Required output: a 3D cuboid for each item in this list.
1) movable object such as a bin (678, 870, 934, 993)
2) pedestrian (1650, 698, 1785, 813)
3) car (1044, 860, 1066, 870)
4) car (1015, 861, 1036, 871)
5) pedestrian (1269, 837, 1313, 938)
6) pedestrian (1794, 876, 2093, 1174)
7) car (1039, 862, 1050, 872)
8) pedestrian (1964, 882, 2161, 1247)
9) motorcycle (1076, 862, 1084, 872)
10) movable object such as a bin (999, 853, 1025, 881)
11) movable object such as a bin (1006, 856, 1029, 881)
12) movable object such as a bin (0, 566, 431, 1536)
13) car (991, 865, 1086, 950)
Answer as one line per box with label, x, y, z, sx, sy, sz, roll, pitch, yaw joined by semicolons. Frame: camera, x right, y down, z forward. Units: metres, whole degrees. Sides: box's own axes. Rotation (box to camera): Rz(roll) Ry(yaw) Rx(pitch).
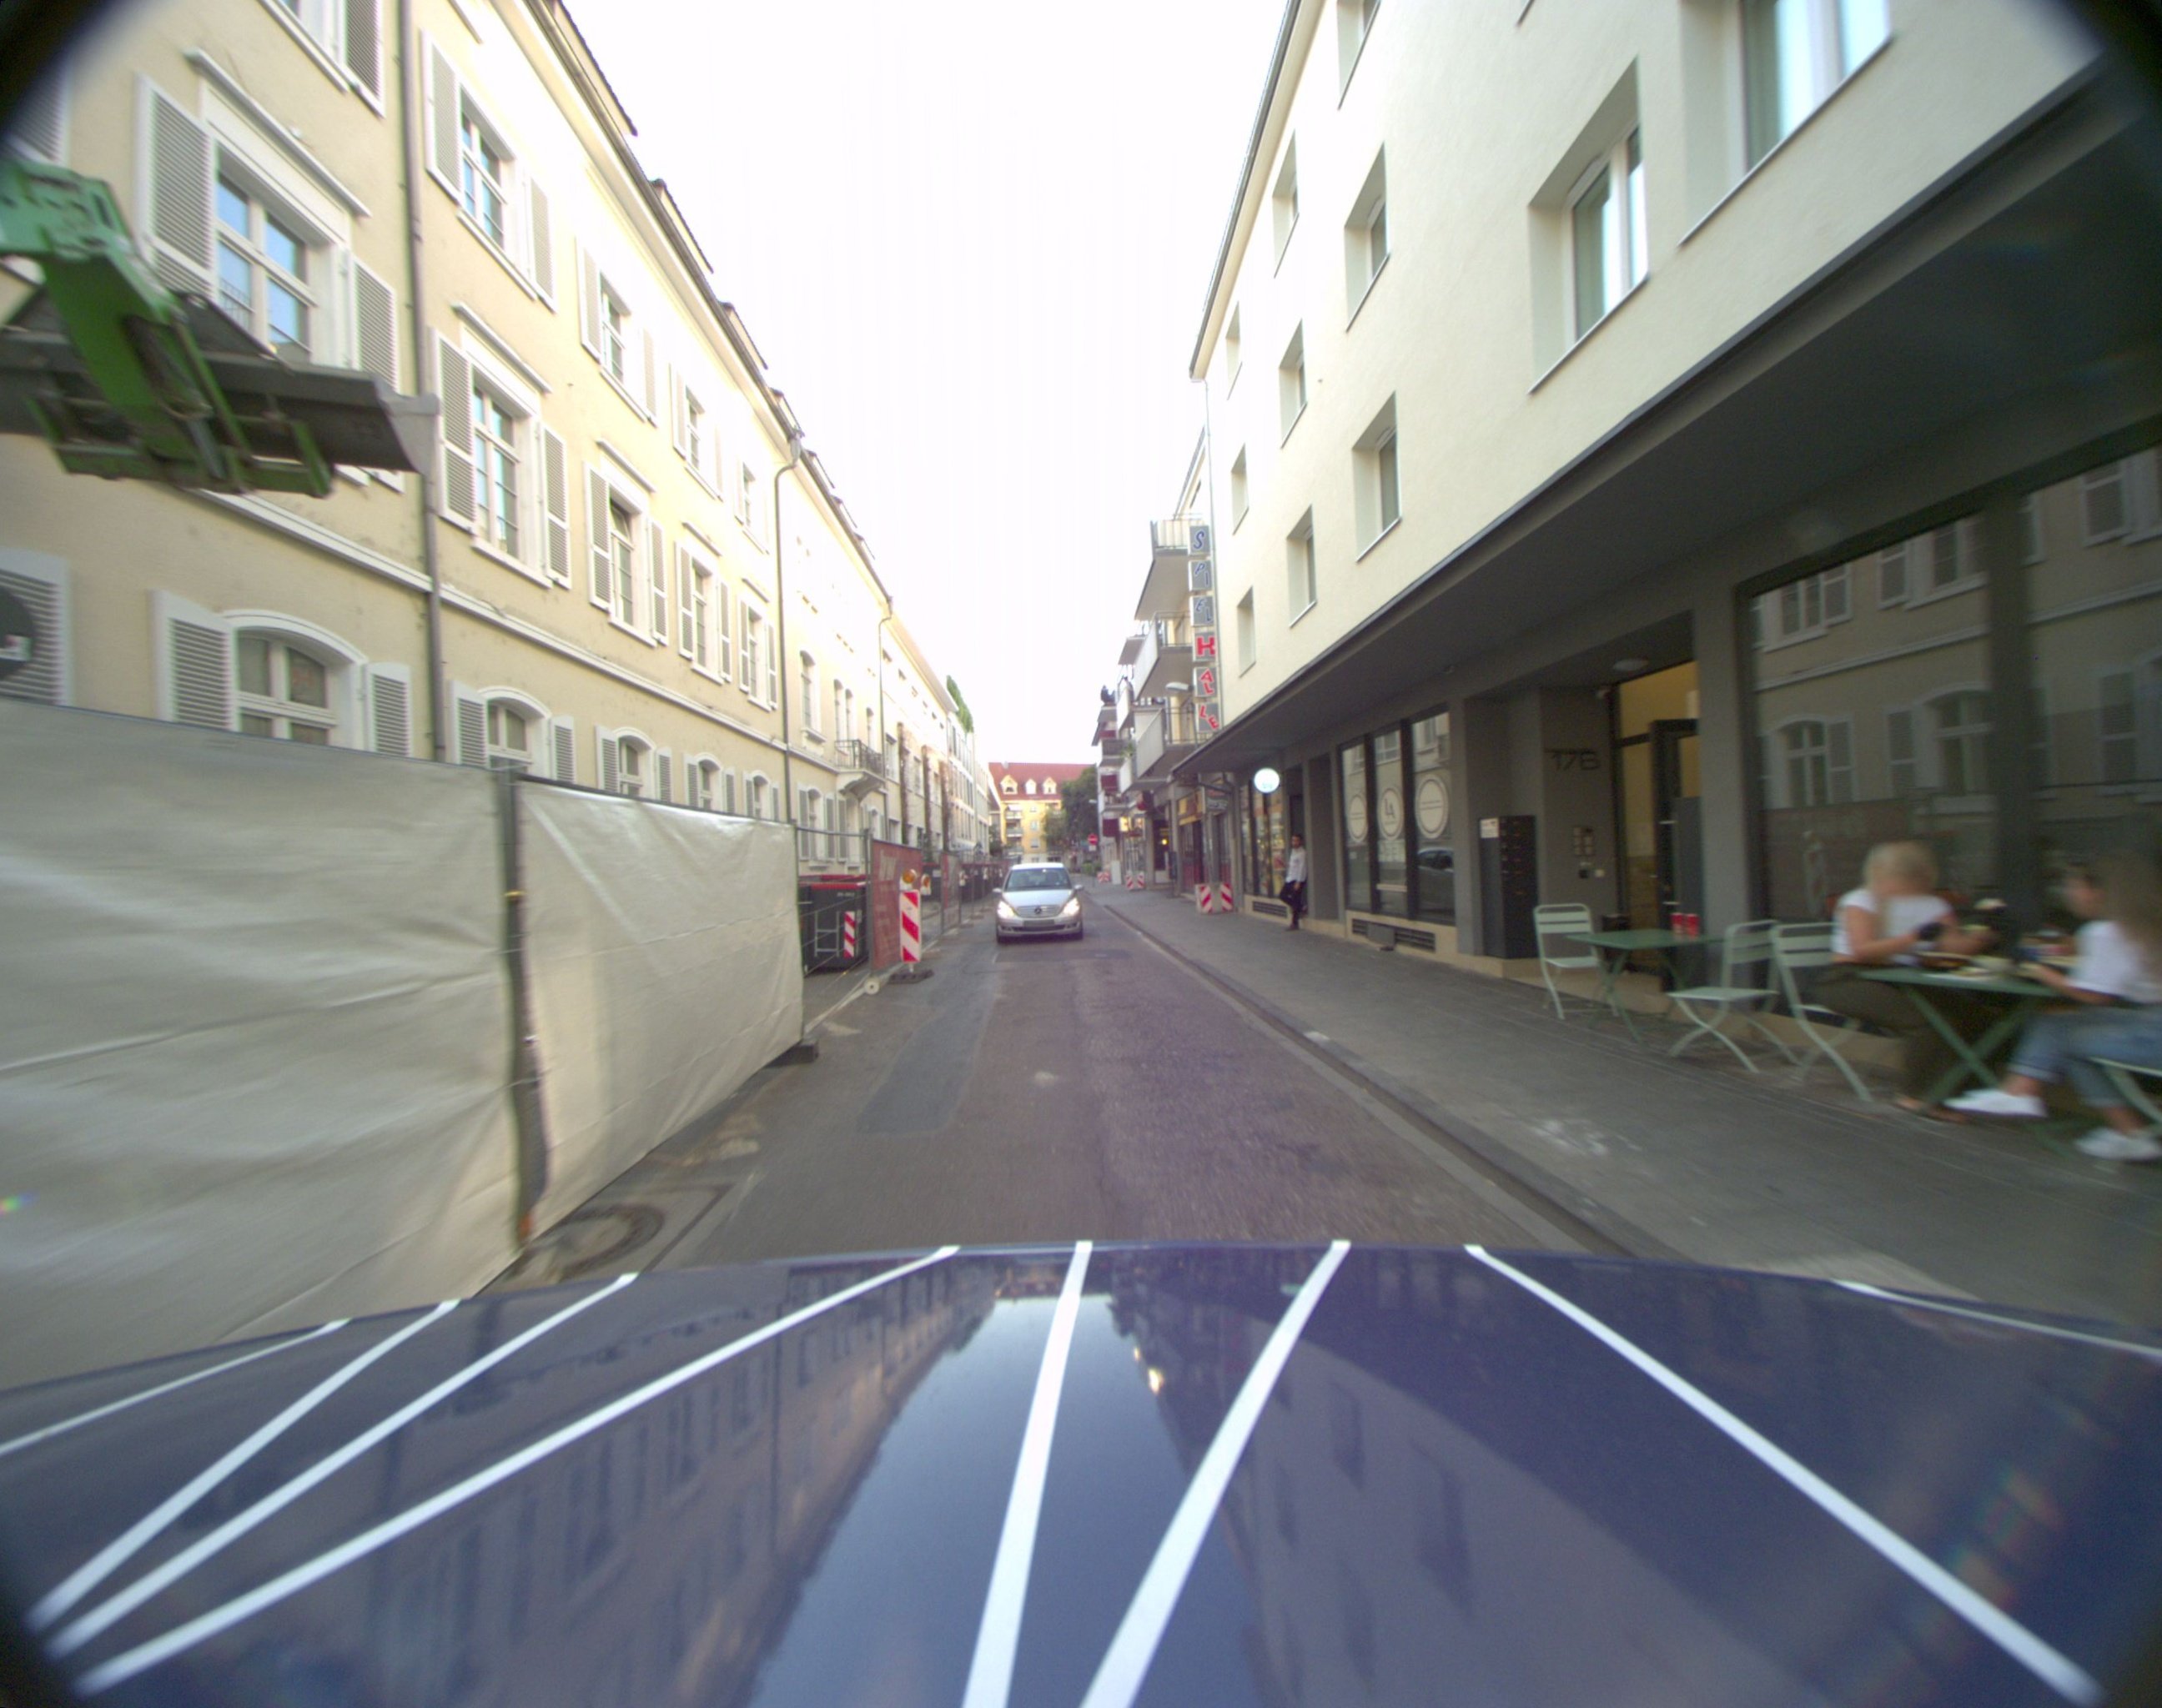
movable object such as a bin;-4.918;1.259;15.372;2.743;1.629;7.550;-3;0;-3
pedestrian;14.197;-2.068;17.190;1.994;2.002;4.008;-2;0;35
car;-4.059;1.725;118.657;1.830;1.460;4.320;-1;1;-25
car;-8.550;1.850;116.321;1.749;1.395;4.237;-1;1;-25
pedestrian;3.905;0.606;14.155;0.532;1.823;0.562;-2;0;-8
pedestrian;4.164;0.769;3.729;0.574;1.268;0.713;-4;0;-2
car;-5.317;1.927;110.090;1.539;1.317;3.352;-3;0;-3
pedestrian;4.145;0.772;2.926;0.574;1.268;0.713;-4;0;-2
motorcycle;-0.173;1.863;107.748;0.858;1.345;1.960;-2;0;7
movable object such as a bin;-6.847;1.318;76.154;2.021;2.607;5.750;-5;-1;-2
movable object such as a bin;-7.160;1.584;86.030;2.021;2.608;5.750;-5;0;-2
movable object such as a bin;-4.435;0.586;1.431;2.612;2.822;4.449;-1;0;-2
car;-0.906;1.092;16.892;1.805;1.607;4.272;-1;-1;-2
